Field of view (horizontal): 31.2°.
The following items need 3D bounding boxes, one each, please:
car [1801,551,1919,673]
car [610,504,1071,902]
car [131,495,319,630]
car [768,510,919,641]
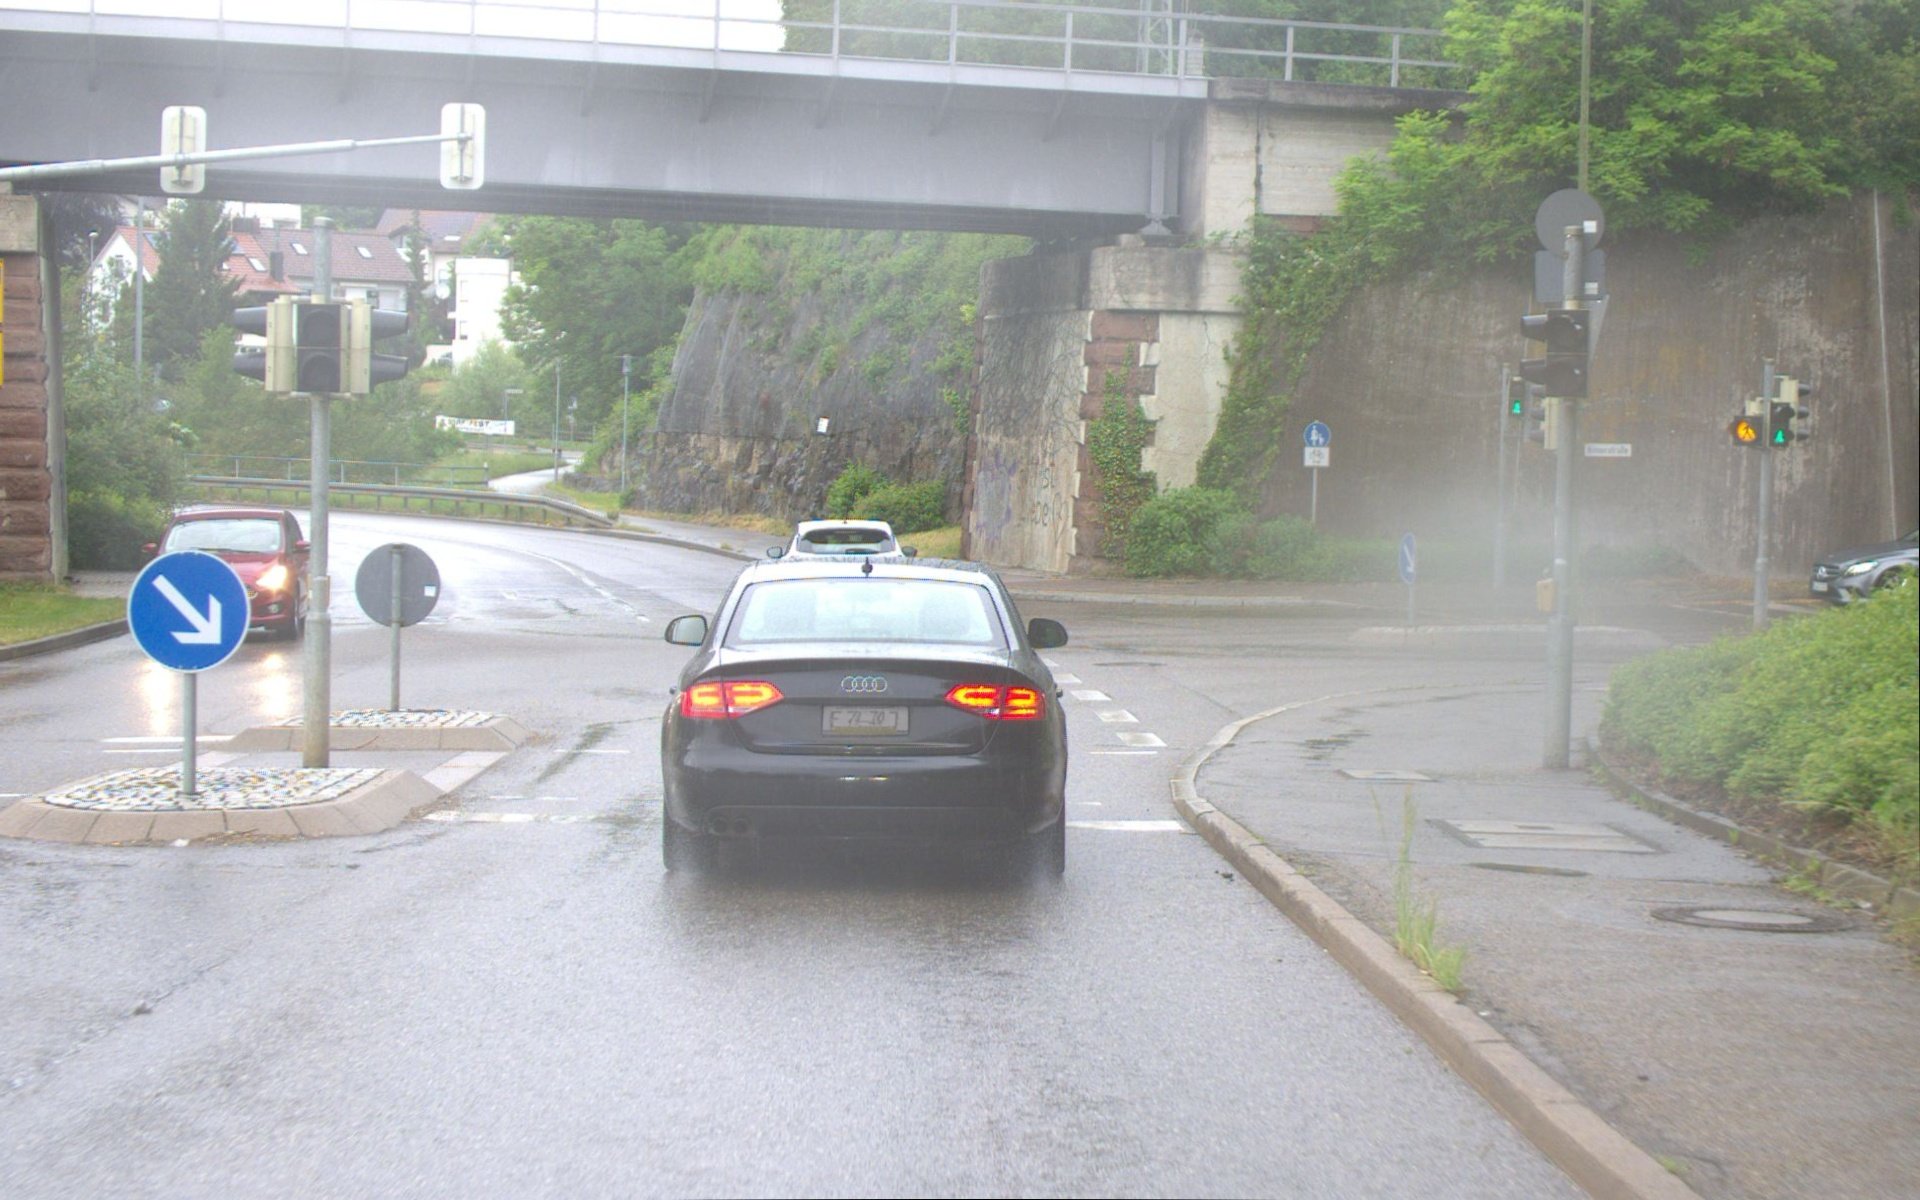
[{"bbox_3d":[13.793,0.166,47.954,3.699,1.656,1.491,0,0,-7],"label":"car"},{"bbox_3d":[-0.513,0.431,16.033,1.870,1.611,4.000,0,0,-1],"label":"car"},{"bbox_3d":[-9.261,-0.490,43.579,1.993,1.623,4.001,0,1,-7],"label":"car"},{"bbox_3d":[-1.444,-0.284,43.794,1.823,1.579,4.000,0,0,-1],"label":"car"}]
